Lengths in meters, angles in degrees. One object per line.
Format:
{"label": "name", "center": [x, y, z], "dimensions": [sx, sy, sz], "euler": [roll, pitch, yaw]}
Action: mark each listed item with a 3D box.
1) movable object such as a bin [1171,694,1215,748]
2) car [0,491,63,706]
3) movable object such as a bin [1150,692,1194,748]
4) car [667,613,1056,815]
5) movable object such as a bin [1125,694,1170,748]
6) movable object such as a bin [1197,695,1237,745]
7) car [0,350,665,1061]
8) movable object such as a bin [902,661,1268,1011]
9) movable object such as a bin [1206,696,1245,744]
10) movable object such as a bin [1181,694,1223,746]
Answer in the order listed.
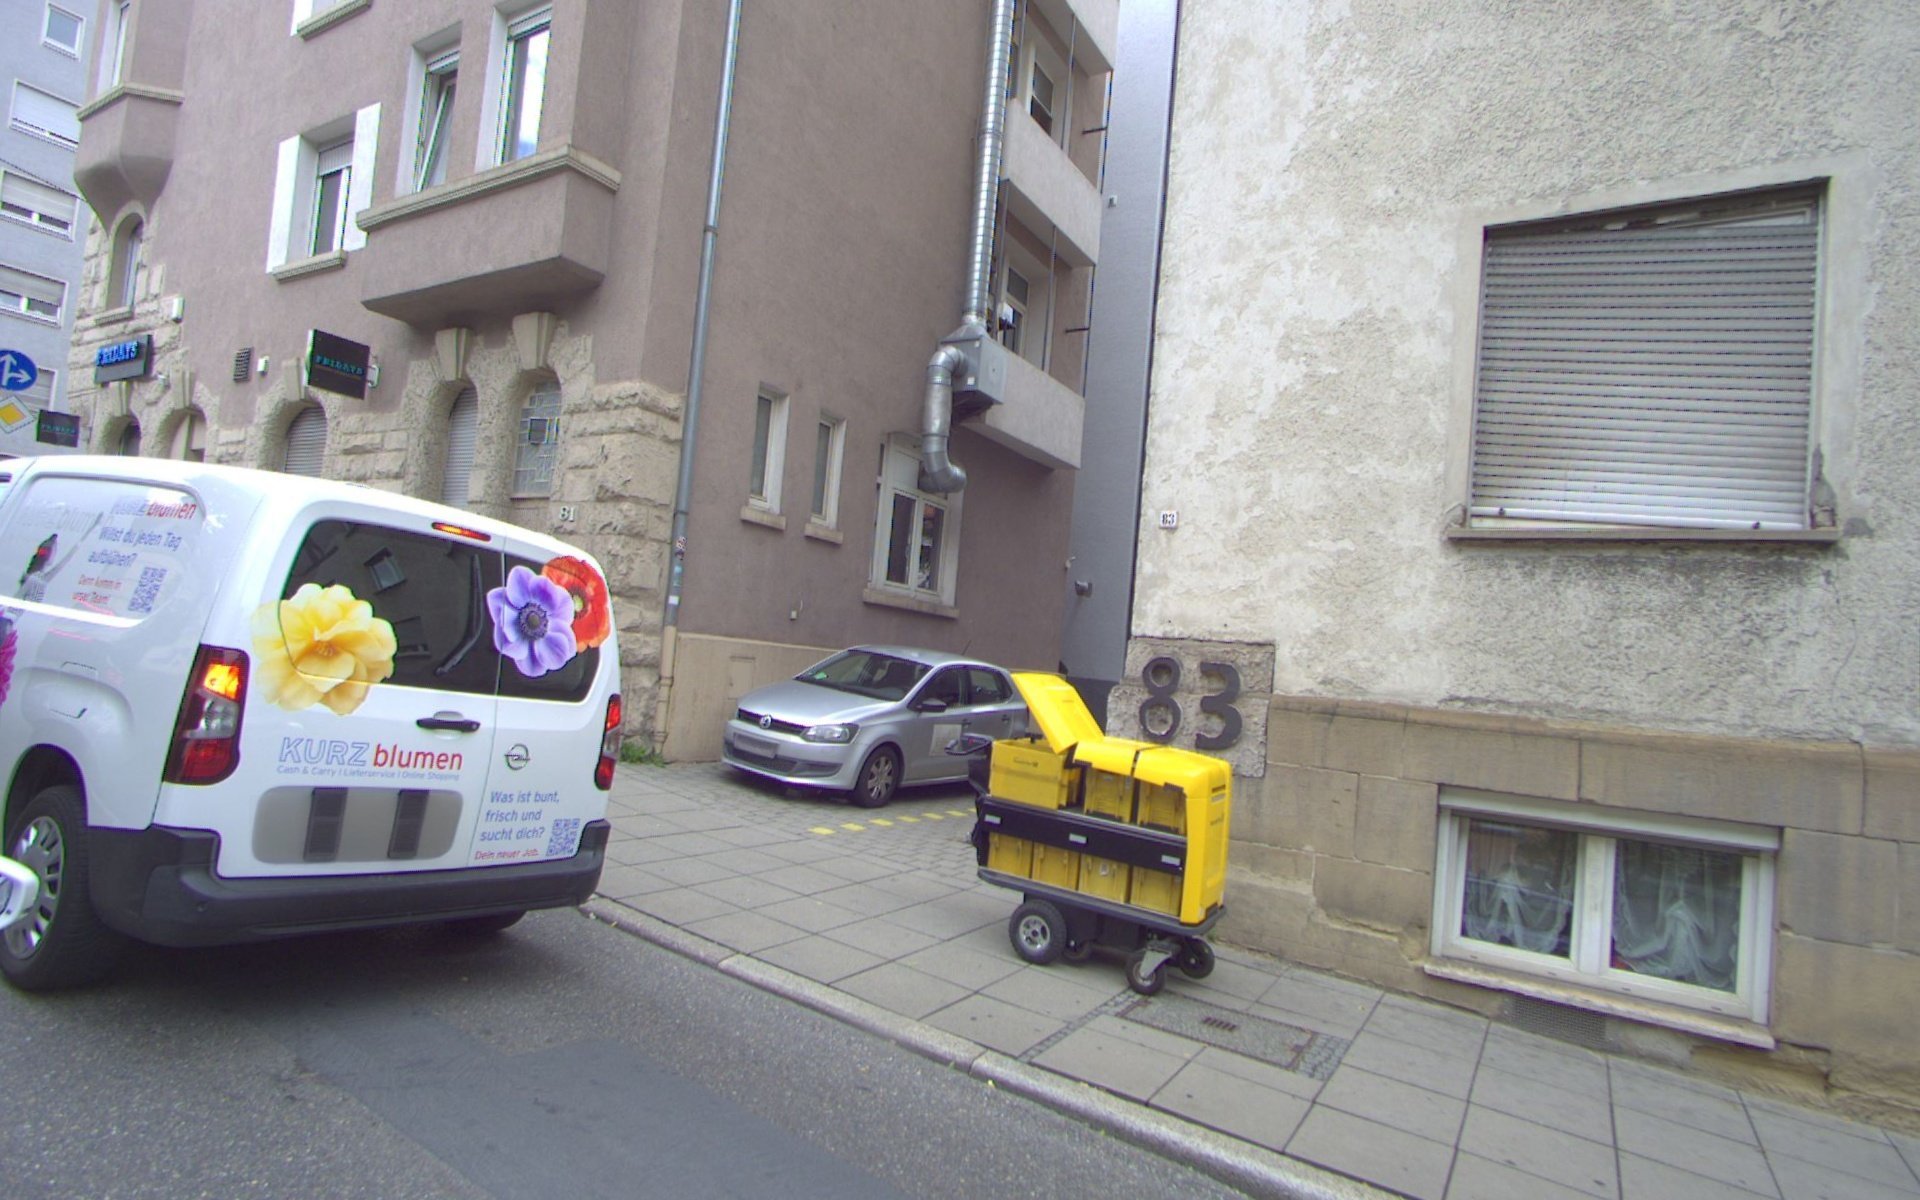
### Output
{"label": "movable object such as a bin", "center": [5.140, 2.656, 22.185], "dimensions": [0.644, 1.073, 0.681], "euler": [7, -1, 31]}
{"label": "car", "center": [-9.136, -0.268, 8.064], "dimensions": [3.570, 1.609, 1.758], "euler": [6, -5, 31]}
{"label": "movable object such as a bin", "center": [4.502, 2.538, 21.363], "dimensions": [0.644, 1.073, 0.572], "euler": [7, -1, 31]}
{"label": "car", "center": [-0.785, 1.170, 10.410], "dimensions": [1.770, 1.419, 3.995], "euler": [9, -1, 32]}
{"label": "movable object such as a bin", "center": [3.814, 2.454, 20.443], "dimensions": [0.626, 0.997, 0.572], "euler": [7, -1, 31]}
{"label": "movable object such as a bin", "center": [6.141, 2.855, 24.003], "dimensions": [0.644, 1.073, 0.673], "euler": [7, -1, 31]}
{"label": "car", "center": [-3.831, 0.234, 4.806], "dimensions": [4.944, 1.845, 1.852], "euler": [4, -4, 36]}
{"label": "movable object such as a bin", "center": [0.652, 1.152, 5.402], "dimensions": [1.665, 1.437, 0.720], "euler": [6, -1, 30]}
{"label": "movable object such as a bin", "center": [6.528, 2.941, 24.744], "dimensions": [0.644, 1.073, 0.673], "euler": [7, -1, 31]}
{"label": "movable object such as a bin", "center": [5.495, 2.728, 22.851], "dimensions": [0.644, 1.073, 0.673], "euler": [7, -1, 31]}
